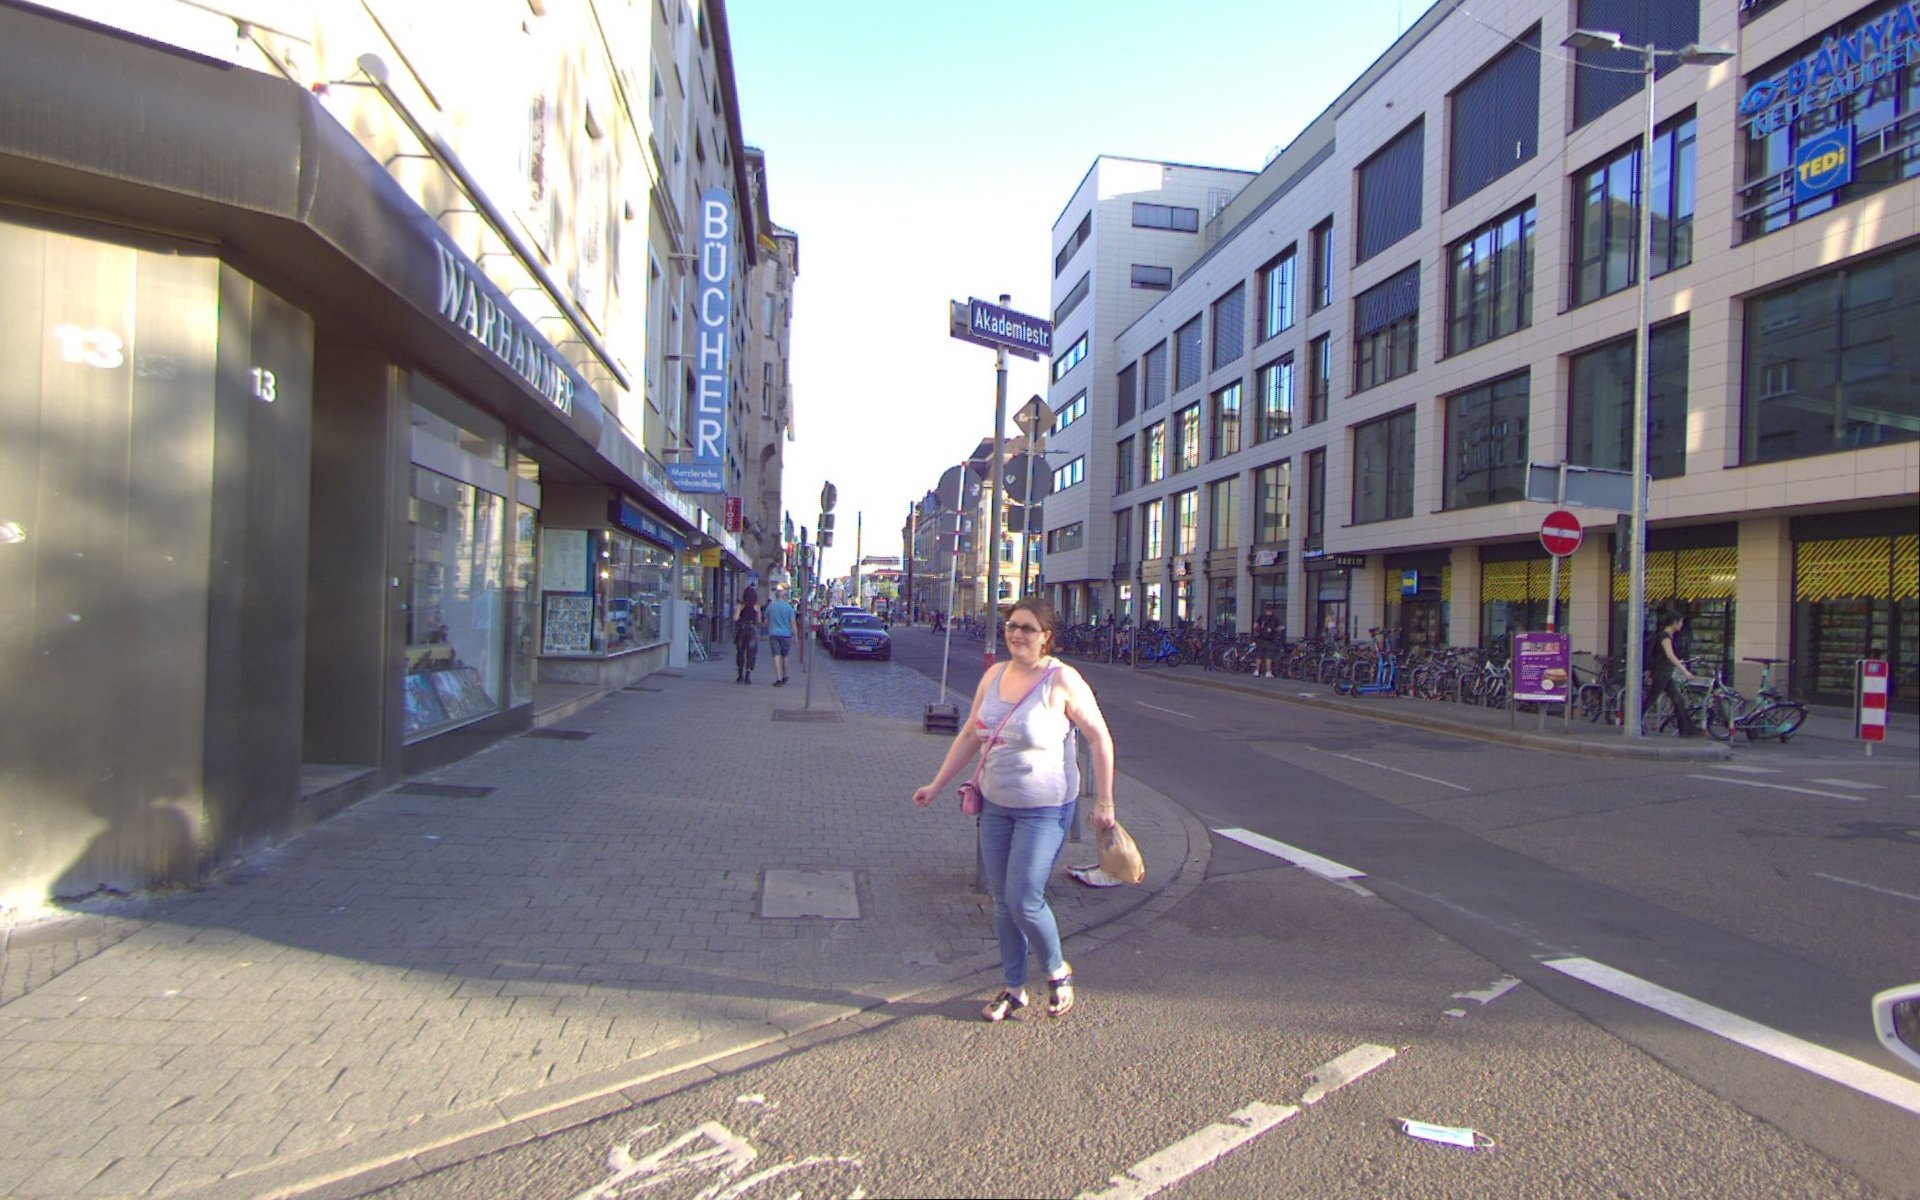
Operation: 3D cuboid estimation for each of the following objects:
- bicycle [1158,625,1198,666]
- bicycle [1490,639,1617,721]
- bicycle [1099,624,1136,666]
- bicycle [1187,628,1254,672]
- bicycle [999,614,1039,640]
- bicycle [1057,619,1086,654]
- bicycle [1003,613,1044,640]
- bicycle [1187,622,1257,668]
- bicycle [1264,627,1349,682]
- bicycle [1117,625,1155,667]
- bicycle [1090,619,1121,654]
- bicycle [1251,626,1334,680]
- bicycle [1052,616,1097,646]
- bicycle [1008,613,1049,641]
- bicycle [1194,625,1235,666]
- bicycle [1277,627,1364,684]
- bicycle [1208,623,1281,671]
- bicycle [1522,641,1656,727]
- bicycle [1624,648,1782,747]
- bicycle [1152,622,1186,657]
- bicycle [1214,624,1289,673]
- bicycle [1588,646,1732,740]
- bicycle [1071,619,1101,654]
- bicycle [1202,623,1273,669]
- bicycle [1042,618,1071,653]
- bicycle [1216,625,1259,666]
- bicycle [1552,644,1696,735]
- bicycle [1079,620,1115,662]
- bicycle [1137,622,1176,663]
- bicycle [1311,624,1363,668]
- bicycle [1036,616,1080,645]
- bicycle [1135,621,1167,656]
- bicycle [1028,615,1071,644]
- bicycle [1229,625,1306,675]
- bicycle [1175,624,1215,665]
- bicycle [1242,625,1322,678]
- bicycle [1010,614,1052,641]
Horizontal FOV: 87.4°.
[{"bbox_3d":[7.295,1.499,33.727,0.504,1.271,1.974,2,0,-11],"label":"bicycle"},{"bbox_3d":[9.889,1.334,16.737,1.944,1.271,0.512,3,0,-12],"label":"bicycle"},{"bbox_3d":[5.220,1.472,33.324,0.504,1.271,1.974,2,0,-11],"label":"bicycle"},{"bbox_3d":[8.007,1.533,30.890,1.944,1.271,0.512,3,0,-11],"label":"bicycle"},{"bbox_3d":[3.033,1.407,51.827,1.948,1.271,0.511,3,0,-18],"label":"bicycle"},{"bbox_3d":[4.298,1.396,38.919,0.504,1.271,1.974,2,0,-11],"label":"bicycle"},{"bbox_3d":[3.233,1.349,51.116,1.948,1.271,0.511,3,0,-18],"label":"bicycle"},{"bbox_3d":[7.859,1.345,30.128,1.944,1.271,0.512,3,0,-11],"label":"bicycle"},{"bbox_3d":[8.586,1.344,24.878,1.944,1.271,0.512,3,0,-11],"label":"bicycle"},{"bbox_3d":[5.847,1.513,33.487,0.504,1.271,1.974,2,0,-11],"label":"bicycle"},{"bbox_3d":[5.692,1.428,39.349,0.504,1.271,1.974,2,0,-11],"label":"bicycle"},{"bbox_3d":[8.439,1.341,25.491,1.944,1.271,0.512,3,0,-11],"label":"bicycle"},{"bbox_3d":[5.221,1.405,45.960,1.944,1.271,0.512,3,0,-11],"label":"bicycle"},{"bbox_3d":[3.399,1.350,50.072,1.948,1.271,0.511,3,0,-18],"label":"bicycle"},{"bbox_3d":[8.588,1.513,33.982,0.504,1.271,1.974,2,0,-11],"label":"bicycle"},{"bbox_3d":[8.707,1.345,24.289,1.944,1.271,0.512,3,0,-11],"label":"bicycle"},{"bbox_3d":[8.104,1.346,28.637,1.944,1.271,0.512,3,0,-11],"label":"bicycle"},{"bbox_3d":[9.993,1.330,15.957,1.944,1.271,0.512,3,0,-11],"label":"bicycle"},{"bbox_3d":[10.330,1.351,13.969,2.009,1.271,0.581,3,0,-13],"label":"bicycle"},{"bbox_3d":[8.239,1.550,39.652,0.504,1.271,1.974,2,0,-11],"label":"bicycle"},{"bbox_3d":[8.087,1.340,27.844,1.944,1.271,0.512,3,0,-11],"label":"bicycle"},{"bbox_3d":[10.160,1.348,14.585,1.945,1.271,0.512,3,0,-13],"label":"bicycle"},{"bbox_3d":[4.872,1.407,39.086,0.504,1.271,1.974,2,0,-11],"label":"bicycle"},{"bbox_3d":[8.123,1.352,29.446,1.944,1.271,0.512,3,0,-11],"label":"bicycle"},{"bbox_3d":[3.709,1.357,38.596,0.504,1.271,1.974,2,0,-11],"label":"bicycle"},{"bbox_3d":[9.354,1.523,33.924,0.504,1.271,1.974,2,0,-11],"label":"bicycle"},{"bbox_3d":[10.033,1.346,15.196,1.943,1.271,0.512,3,0,-9],"label":"bicycle"},{"bbox_3d":[4.505,1.336,33.150,0.504,1.271,1.974,2,0,-11],"label":"bicycle"},{"bbox_3d":[6.559,1.413,33.592,0.504,1.271,1.974,2,0,-11],"label":"bicycle"},{"bbox_3d":[11.945,1.439,31.870,0.601,1.271,1.975,2,0,-10],"label":"bicycle"},{"bbox_3d":[4.590,1.431,47.115,1.948,1.271,0.511,3,0,-18],"label":"bicycle"},{"bbox_3d":[7.490,1.489,39.460,0.504,1.271,1.974,2,0,-11],"label":"bicycle"},{"bbox_3d":[4.265,1.408,47.952,1.948,1.271,0.511,3,0,-18],"label":"bicycle"},{"bbox_3d":[8.301,1.345,27.125,1.944,1.271,0.512,3,0,-11],"label":"bicycle"},{"bbox_3d":[7.910,1.490,33.876,0.504,1.271,1.974,2,0,-11],"label":"bicycle"},{"bbox_3d":[8.435,1.346,26.308,1.944,1.271,0.512,3,0,-11],"label":"bicycle"},{"bbox_3d":[3.496,1.349,49.265,1.948,1.271,0.511,3,0,-18],"label":"bicycle"}]
